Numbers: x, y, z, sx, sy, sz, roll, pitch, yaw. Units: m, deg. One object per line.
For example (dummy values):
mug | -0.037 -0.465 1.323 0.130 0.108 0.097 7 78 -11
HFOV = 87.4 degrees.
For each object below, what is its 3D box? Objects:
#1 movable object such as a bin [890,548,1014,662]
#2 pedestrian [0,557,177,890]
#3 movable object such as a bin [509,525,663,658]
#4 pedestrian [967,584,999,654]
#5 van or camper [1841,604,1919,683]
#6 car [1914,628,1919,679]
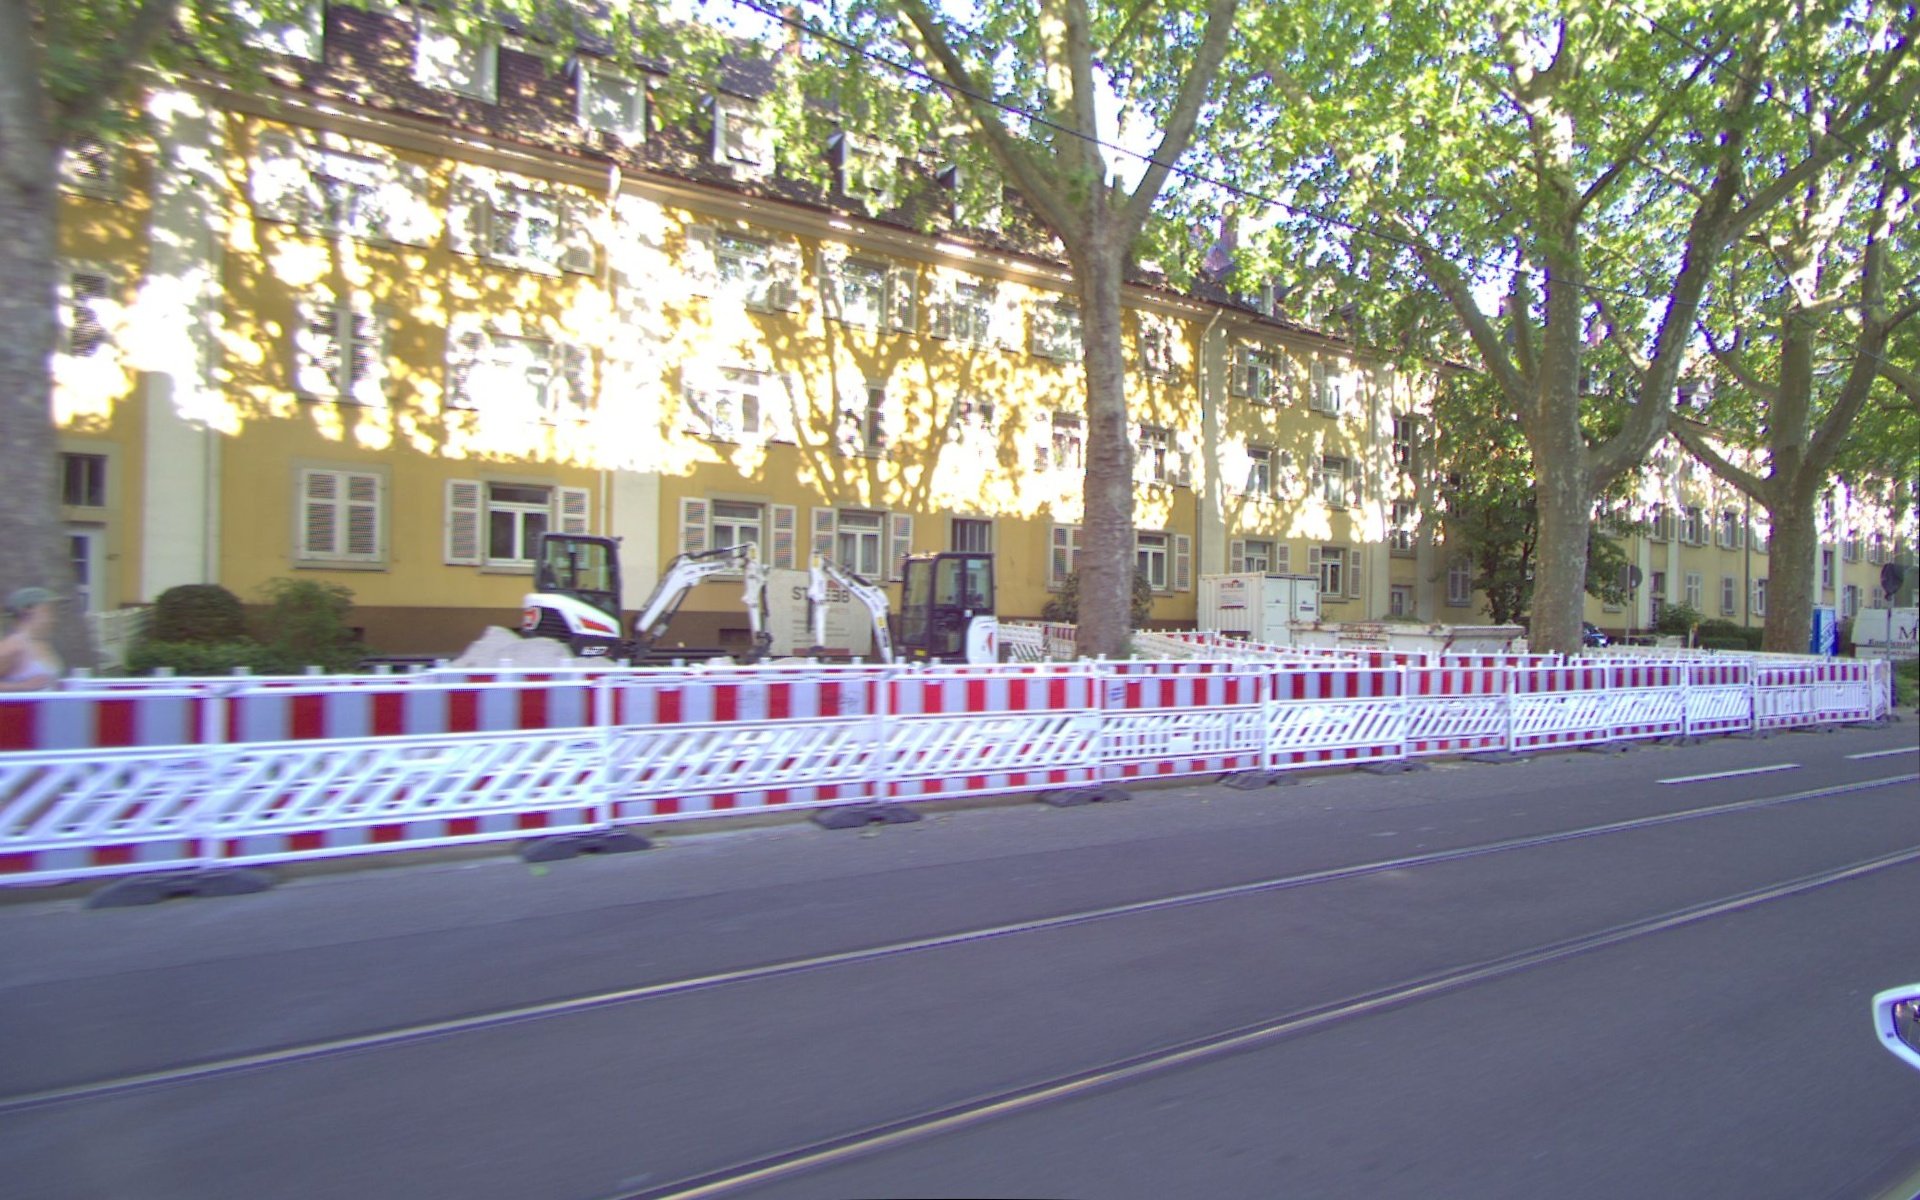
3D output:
movable object such as a bin | -0.127 0.090 15.519 1.541 1.667 1.092 2 0 -30
pedestrian | -4.870 0.628 5.507 0.769 1.691 0.713 2 0 -29
movable object such as a bin | -5.732 -0.095 15.359 1.984 1.893 1.327 2 0 -30
pedestrian | 0.567 0.454 24.526 0.659 1.678 0.672 1 -1 8
van or camper | 31.043 1.418 30.881 2.240 2.411 5.483 2 0 -26
car | 33.620 1.791 32.140 1.943 1.693 4.144 2 -1 -32
